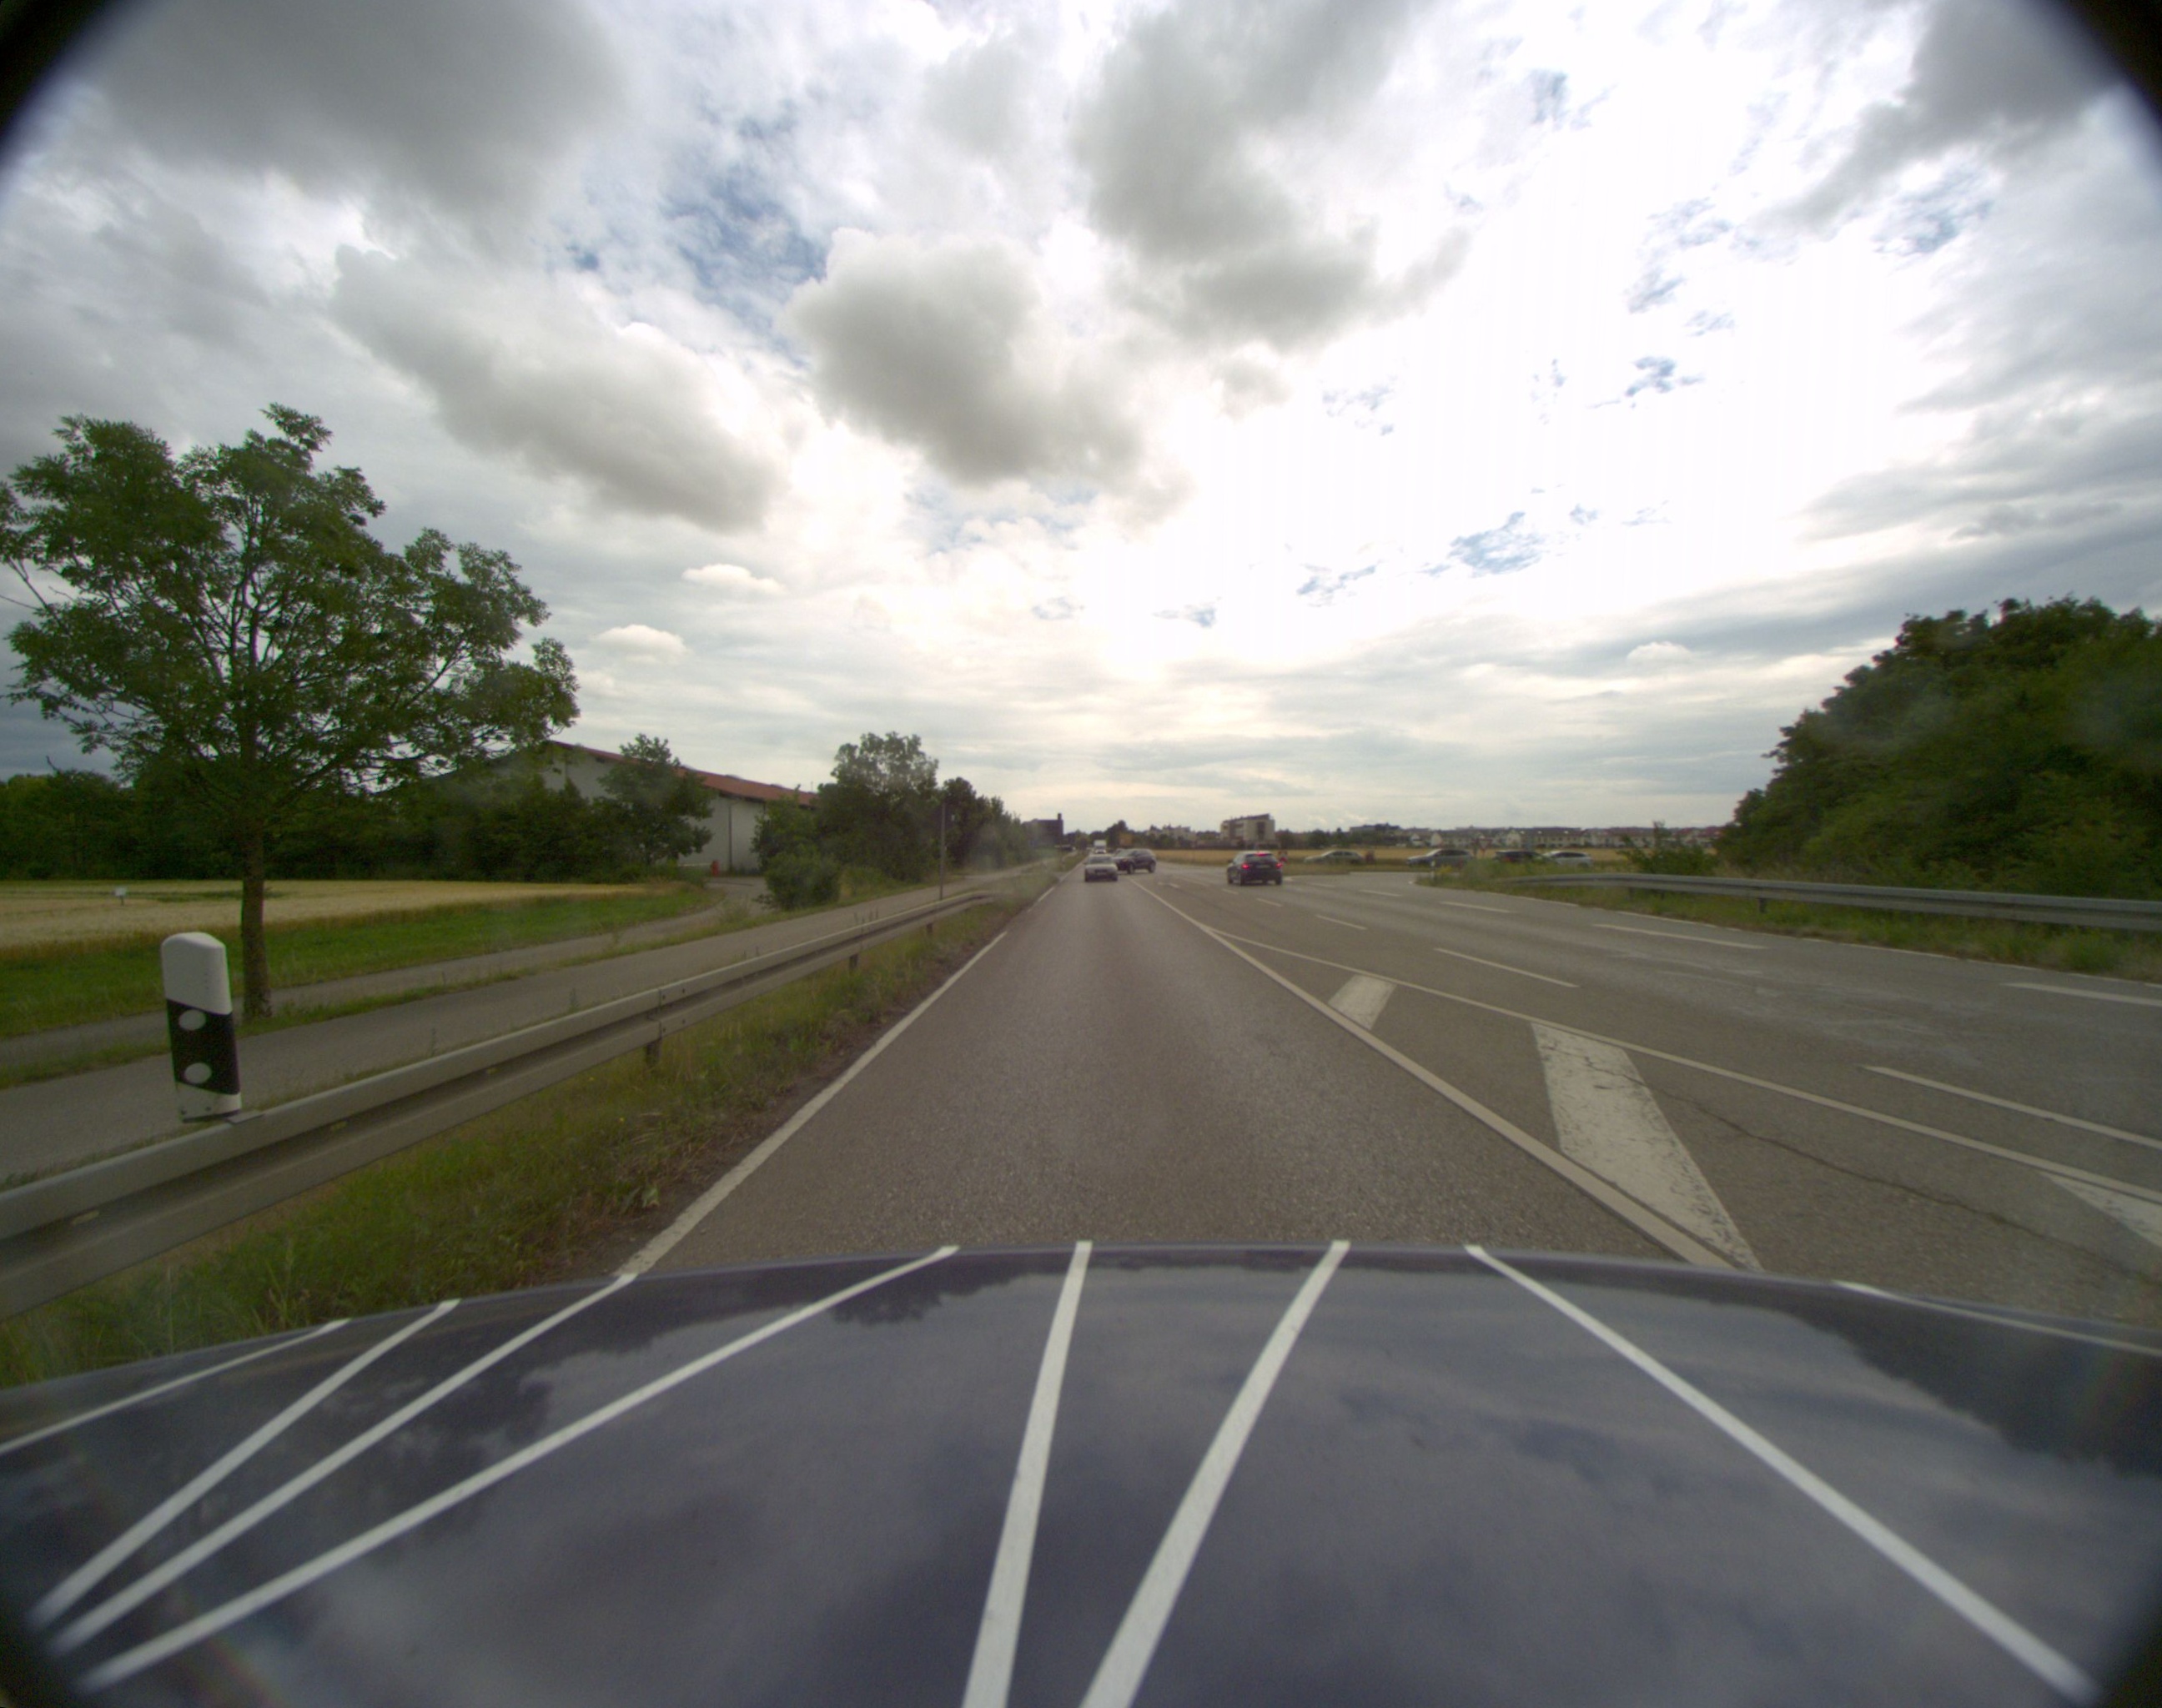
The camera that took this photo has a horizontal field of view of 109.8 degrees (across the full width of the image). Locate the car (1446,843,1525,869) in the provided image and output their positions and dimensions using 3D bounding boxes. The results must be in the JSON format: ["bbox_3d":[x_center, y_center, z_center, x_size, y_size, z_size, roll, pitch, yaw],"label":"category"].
[{"bbox_3d":[26.718,0.104,50.242,4.481,1.602,1.707,-1,1,-6],"label":"car"}]

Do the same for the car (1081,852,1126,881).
[{"bbox_3d":[1.302,0.645,41.489,1.908,1.416,4.467,0,1,9],"label":"car"}]

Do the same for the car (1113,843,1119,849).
[{"bbox_3d":[9.887,-2.203,215.206,1.683,1.512,4.395,-2,1,1],"label":"car"}]

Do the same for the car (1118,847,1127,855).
[{"bbox_3d":[8.016,-0.650,147.110,1.746,1.522,4.199,0,1,4],"label":"car"}]

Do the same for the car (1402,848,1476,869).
[{"bbox_3d":[26.974,0.315,57.378,4.632,1.508,1.912,0,1,7],"label":"car"}]

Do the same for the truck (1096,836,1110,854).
[{"bbox_3d":[4.597,-1.784,158.193,2.813,3.588,11.218,0,1,2],"label":"truck"}]

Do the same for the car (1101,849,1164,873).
[{"bbox_3d":[3.637,0.454,52.714,1.905,1.523,4.765,0,1,40],"label":"car"}]

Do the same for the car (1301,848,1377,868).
[{"bbox_3d":[19.755,0.314,58.429,5.295,1.512,1.912,0,1,7],"label":"car"}]

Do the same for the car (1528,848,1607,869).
[{"bbox_3d":[35.858,0.299,56.065,4.499,1.474,1.912,0,1,7],"label":"car"}]

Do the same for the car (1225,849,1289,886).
[{"bbox_3d":[7.358,0.522,32.084,1.867,1.368,4.000,-2,1,2],"label":"car"}]

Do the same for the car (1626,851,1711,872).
[{"bbox_3d":[42.645,0.552,55.252,4.499,1.474,1.912,0,1,7],"label":"car"}]
